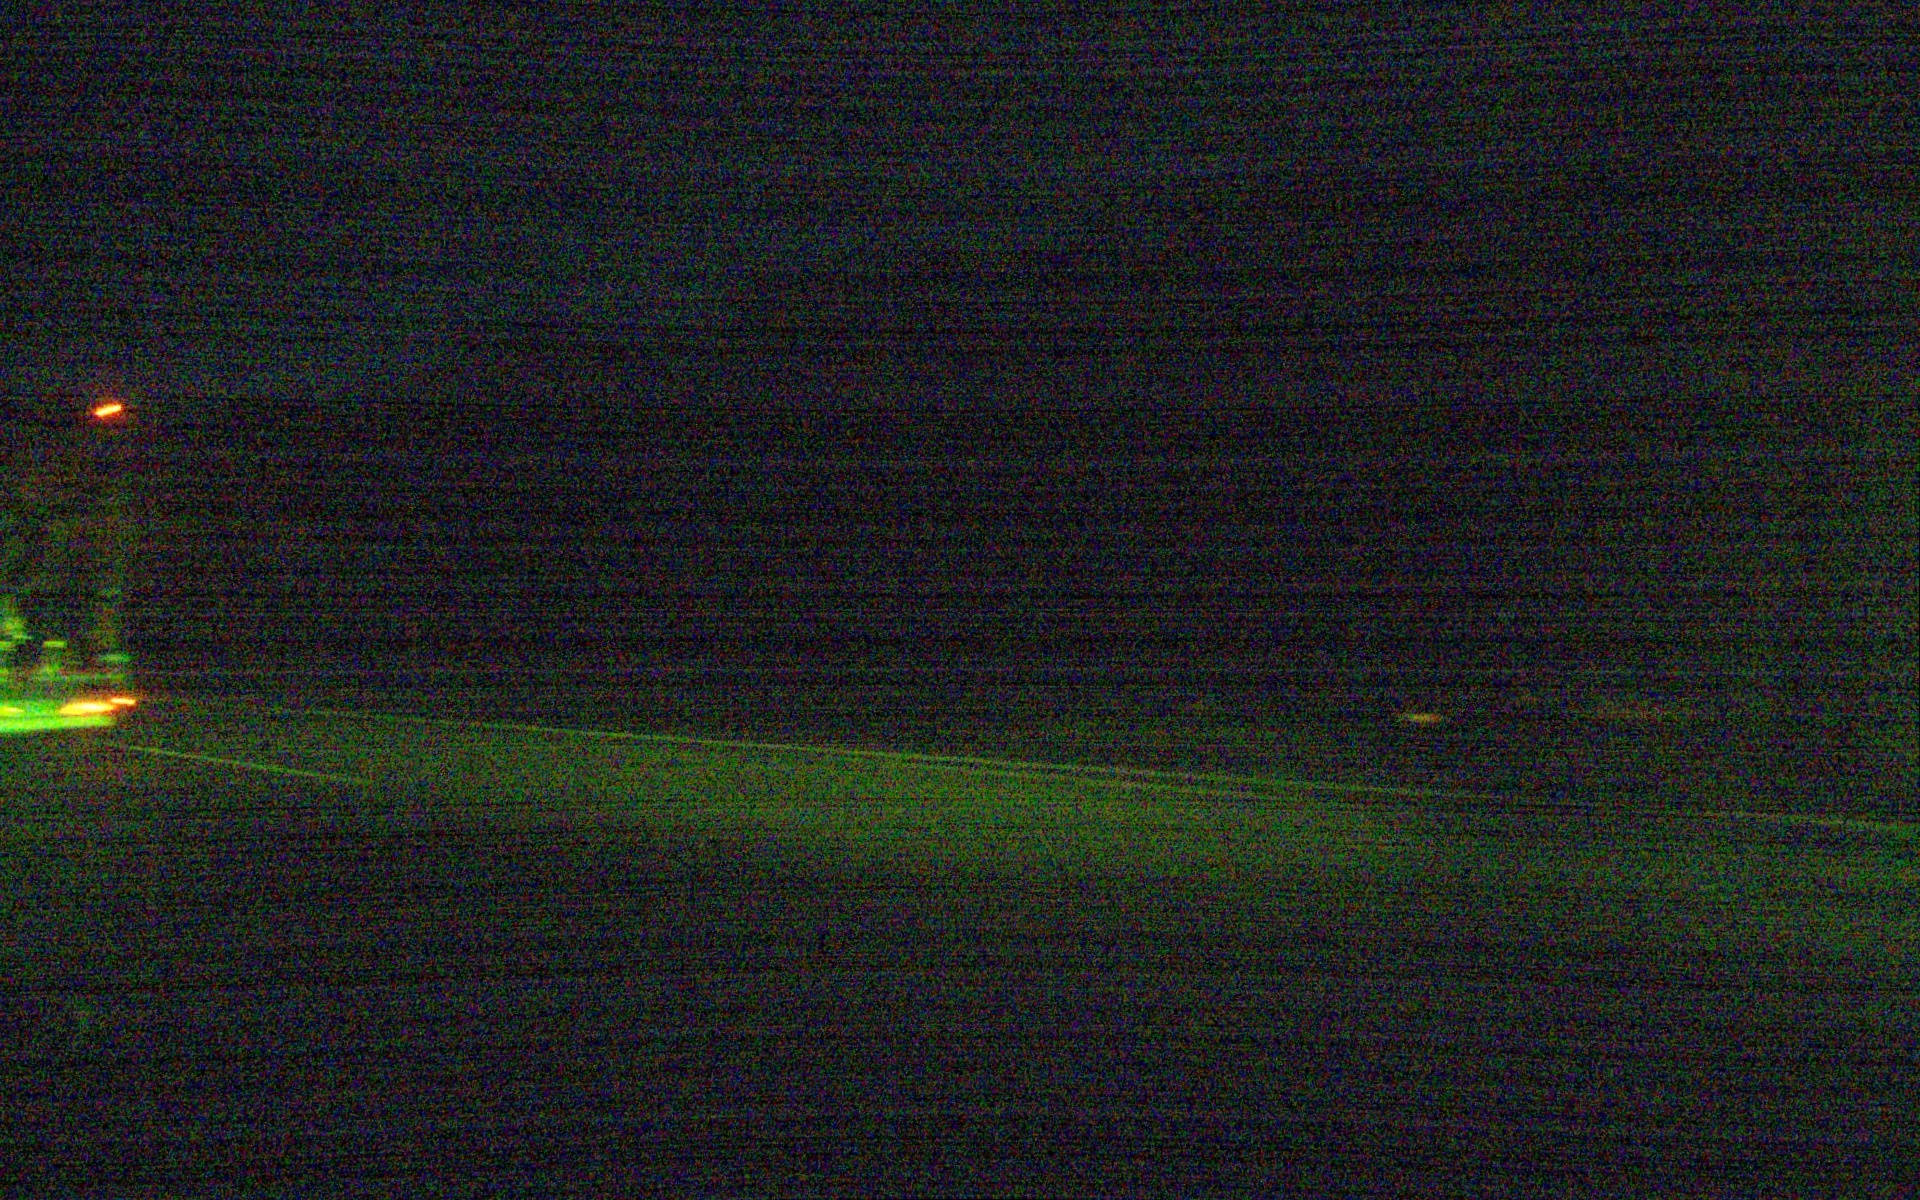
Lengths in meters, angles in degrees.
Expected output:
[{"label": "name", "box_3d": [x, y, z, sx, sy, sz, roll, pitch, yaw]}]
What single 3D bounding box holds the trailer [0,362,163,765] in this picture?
[{"label": "trailer", "box_3d": [-15.794, -0.314, 14.182, 13.315, 4.260, 2.738, -1, -2, 32]}]
